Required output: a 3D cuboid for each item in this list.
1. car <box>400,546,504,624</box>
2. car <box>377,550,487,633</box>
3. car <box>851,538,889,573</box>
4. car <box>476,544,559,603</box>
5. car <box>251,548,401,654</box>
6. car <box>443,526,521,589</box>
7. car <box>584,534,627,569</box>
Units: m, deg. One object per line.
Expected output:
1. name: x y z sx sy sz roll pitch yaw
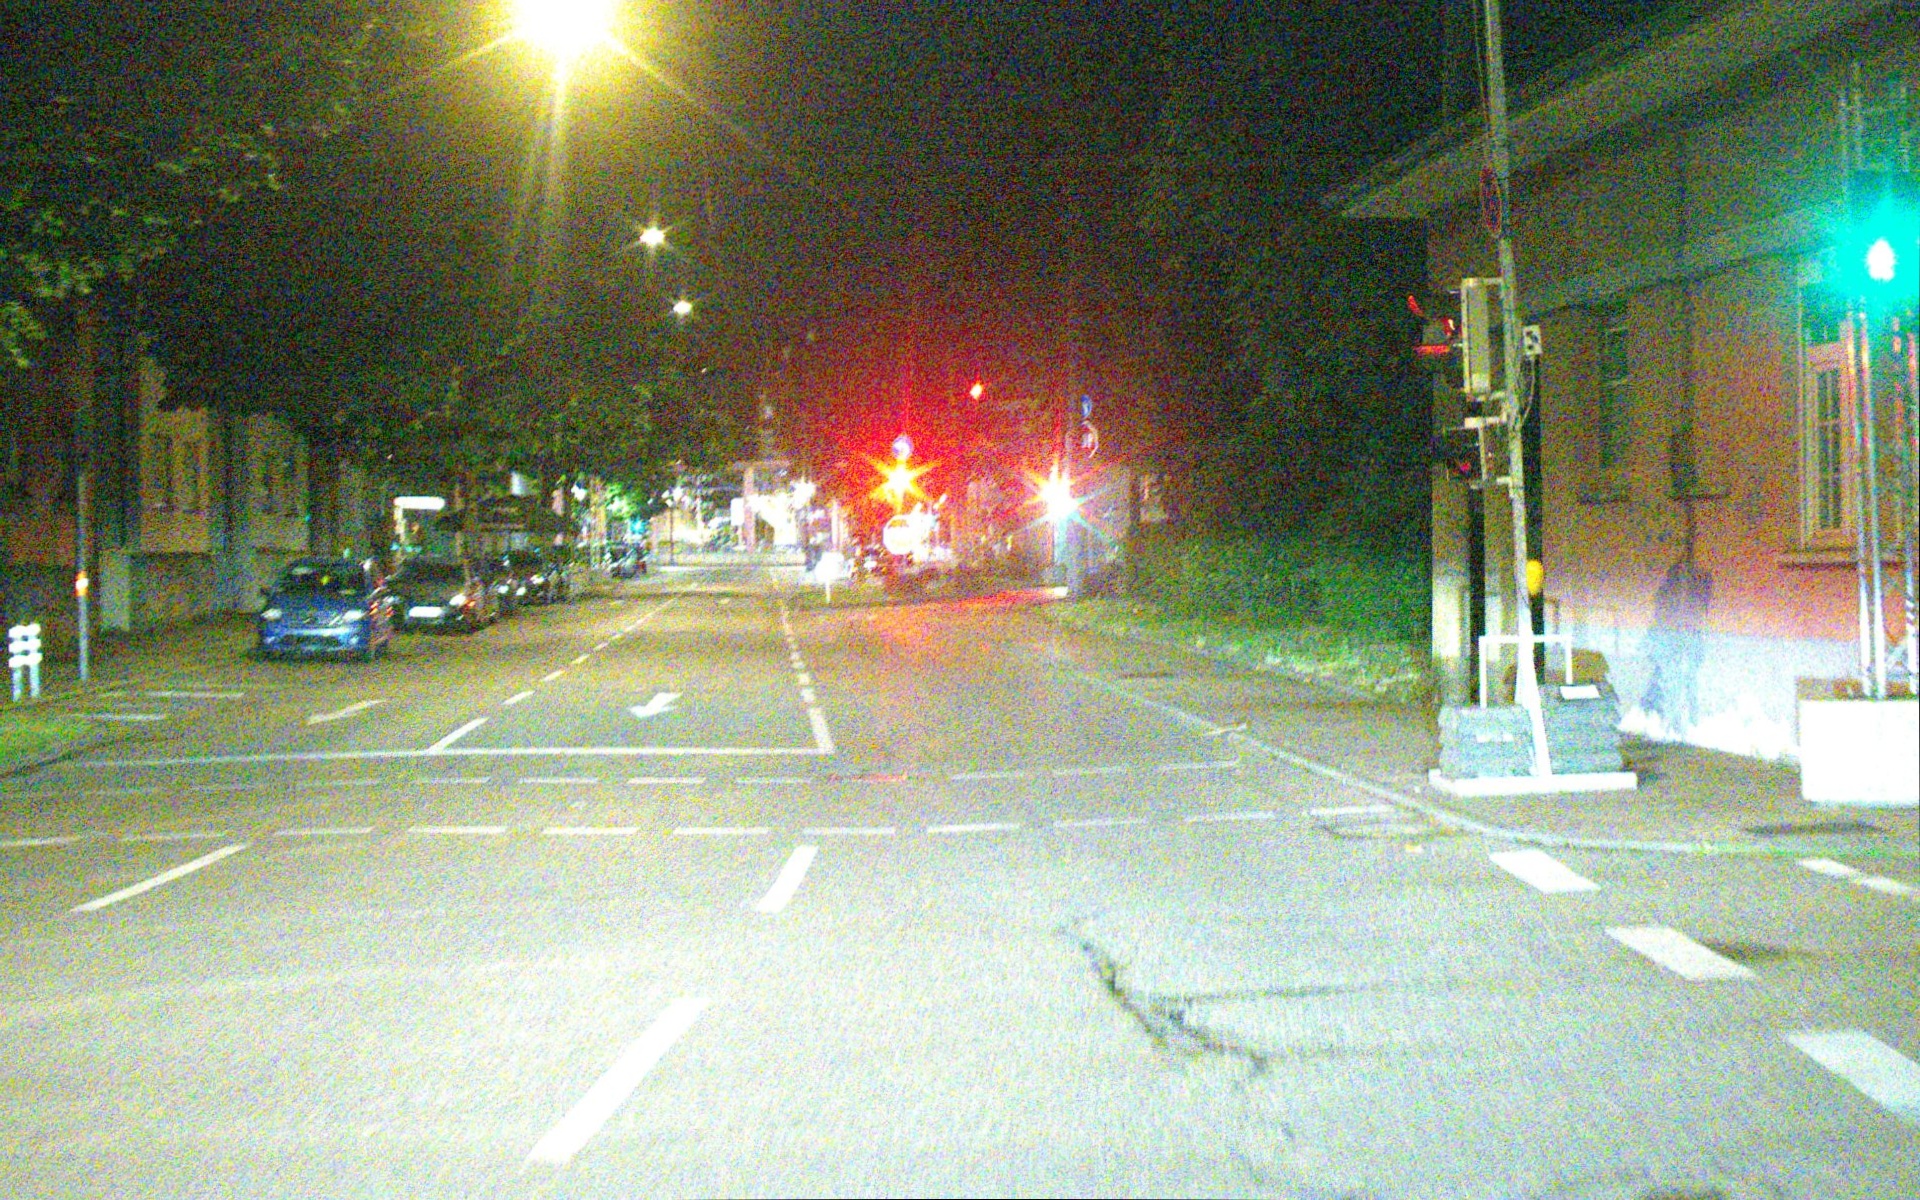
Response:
1. car: -10.615 -0.342 72.082 1.768 1.480 4.865 -2 1 -4
2. car: -10.207 -0.195 66.758 1.768 1.480 4.769 -2 1 -5
3. car: -4.004 -1.983 152.358 1.651 1.426 4.001 -2 2 -2
4. car: -12.000 -0.752 93.495 1.899 1.466 4.453 1 2 -3
5. car: -9.321 0.025 50.804 1.714 1.489 3.990 0 0 -4
6. car: -11.155 -1.020 80.395 1.622 1.378 4.453 -2 1 -6
7. car: -15.363 -2.121 149.124 1.651 1.426 4.001 -2 2 -3
